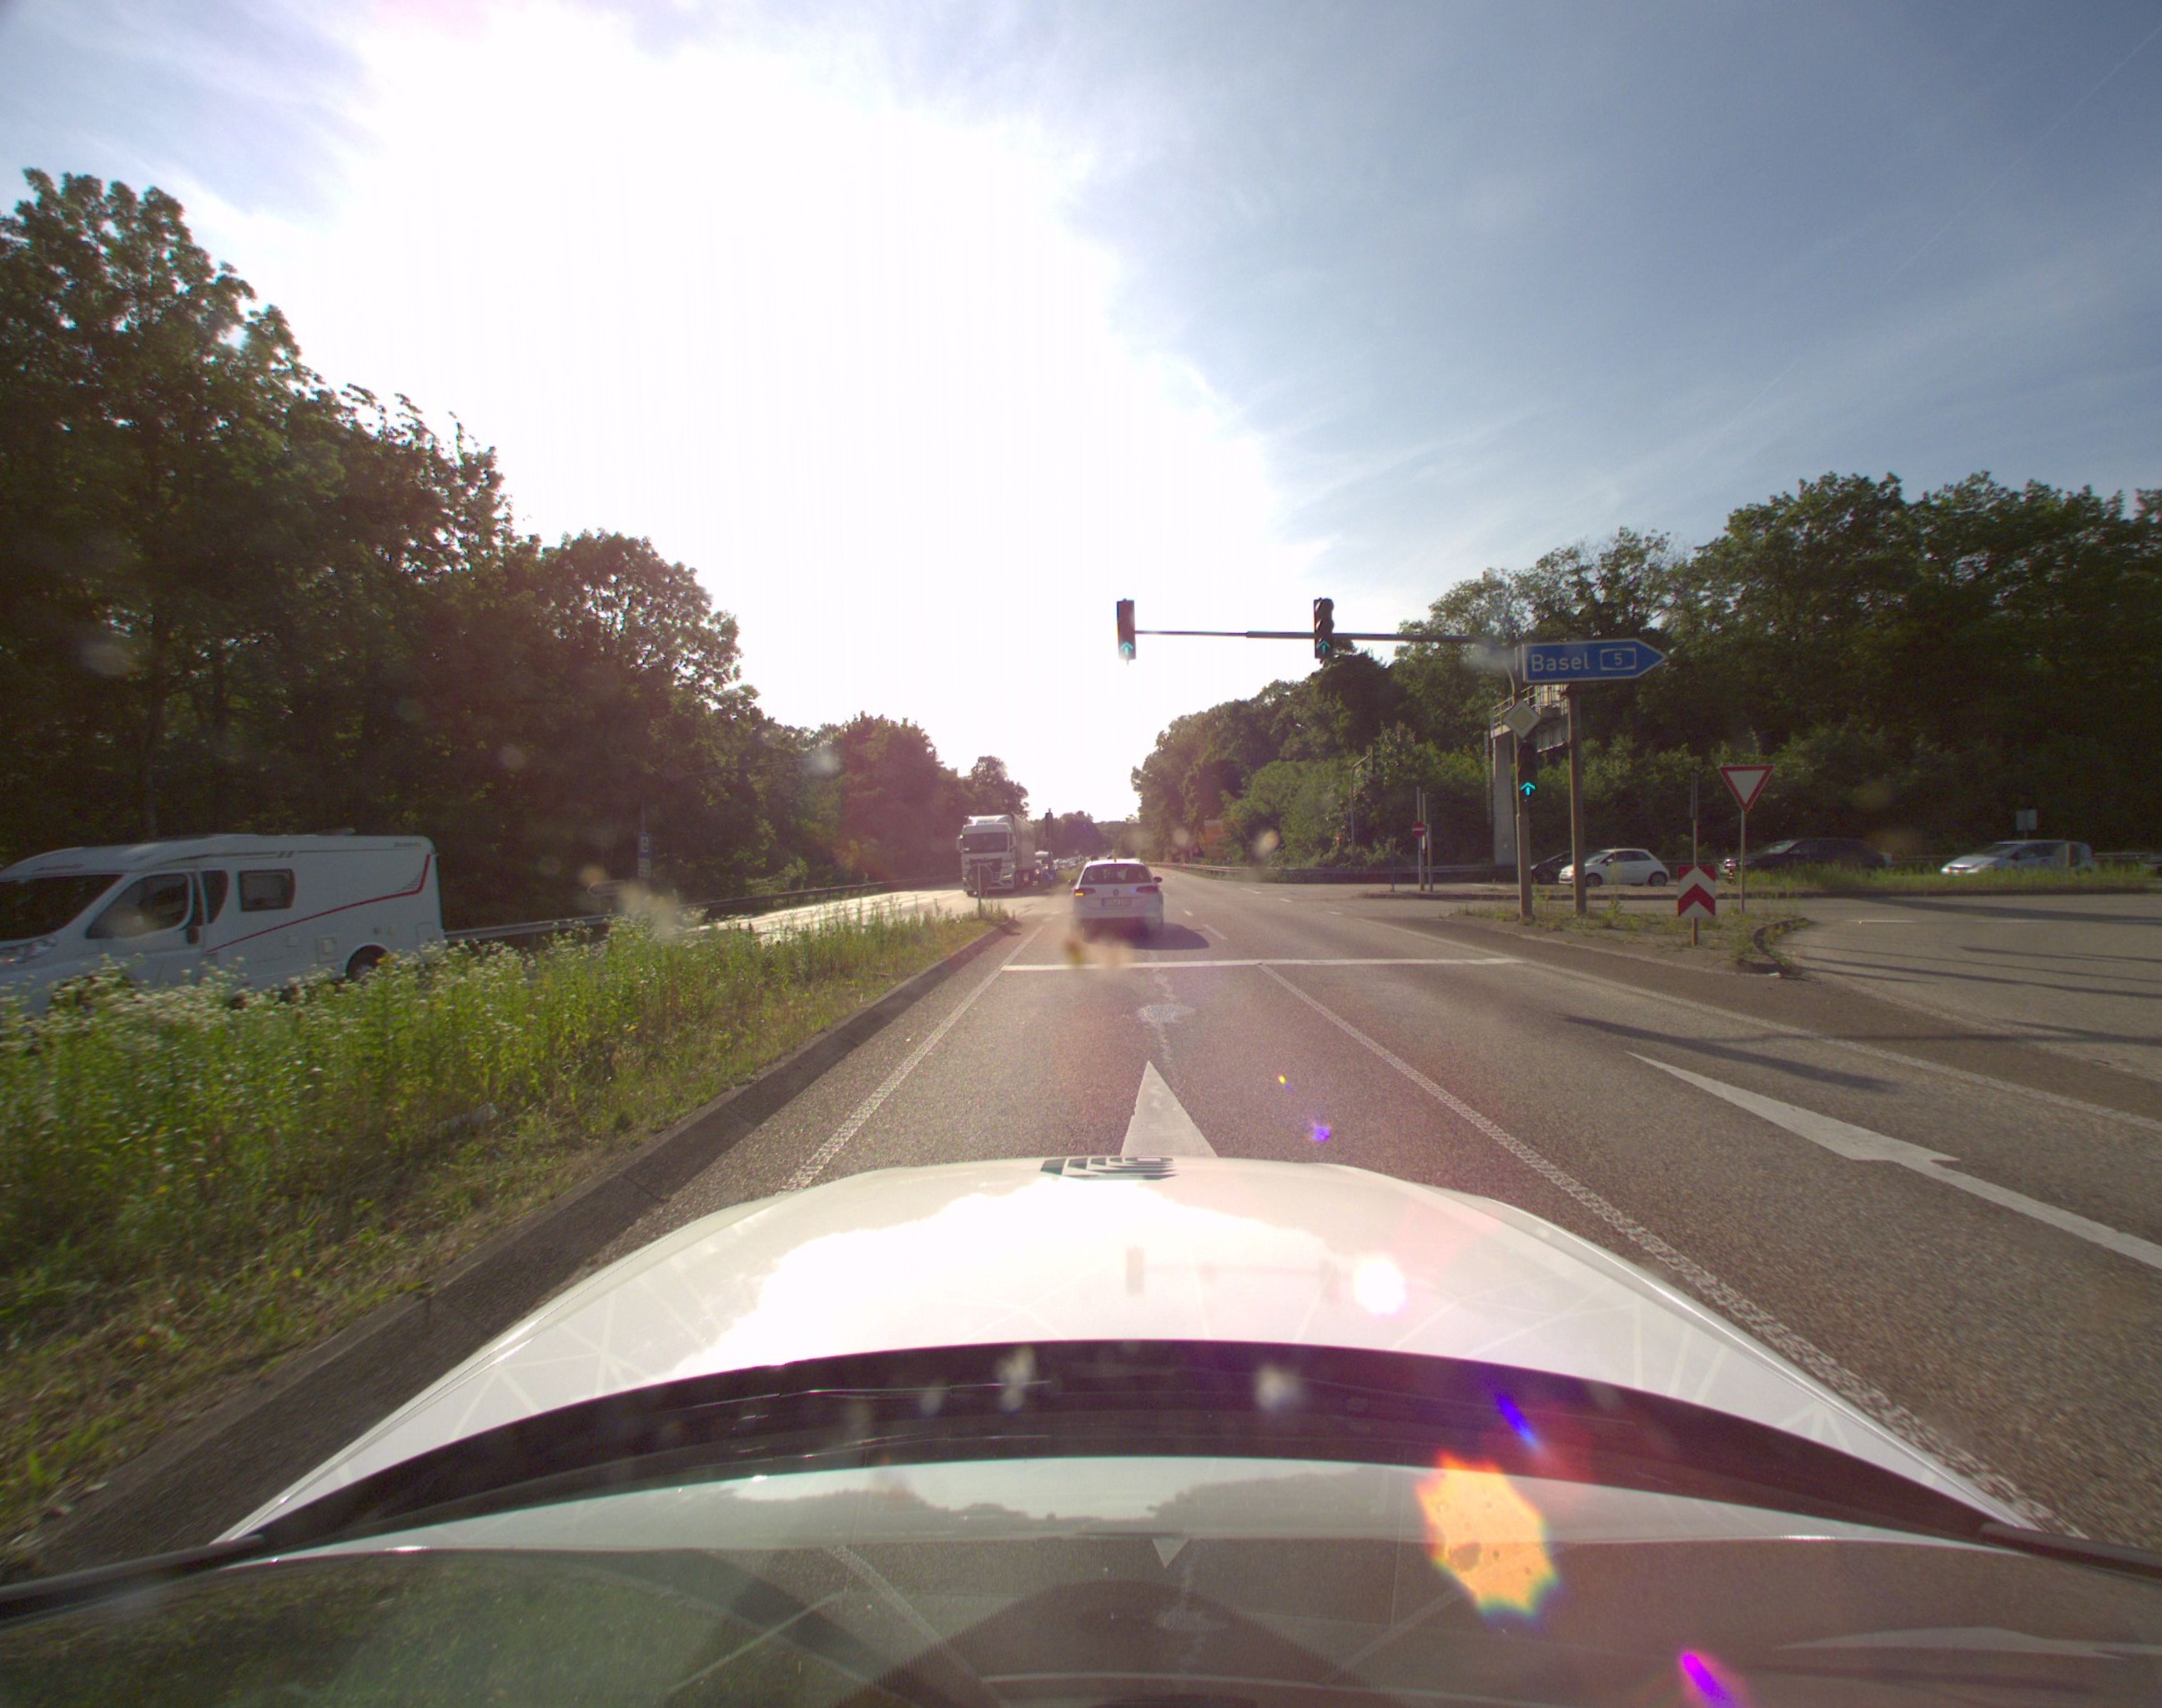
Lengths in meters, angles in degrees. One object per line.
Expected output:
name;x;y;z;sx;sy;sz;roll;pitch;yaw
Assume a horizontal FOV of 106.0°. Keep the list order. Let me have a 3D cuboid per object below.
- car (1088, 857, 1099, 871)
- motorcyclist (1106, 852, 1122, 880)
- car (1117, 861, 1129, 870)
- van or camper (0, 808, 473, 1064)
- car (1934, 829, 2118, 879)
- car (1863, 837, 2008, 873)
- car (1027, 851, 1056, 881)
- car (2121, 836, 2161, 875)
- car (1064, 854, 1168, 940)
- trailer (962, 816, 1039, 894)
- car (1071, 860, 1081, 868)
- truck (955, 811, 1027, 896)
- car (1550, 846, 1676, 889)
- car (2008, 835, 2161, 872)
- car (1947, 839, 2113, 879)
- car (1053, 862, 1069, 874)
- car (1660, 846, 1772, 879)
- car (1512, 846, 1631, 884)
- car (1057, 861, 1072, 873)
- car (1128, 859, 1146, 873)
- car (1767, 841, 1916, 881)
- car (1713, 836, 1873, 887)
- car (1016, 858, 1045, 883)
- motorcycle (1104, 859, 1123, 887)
car;2.744;2.251;178.933;2.202;2.888;7.013;-3;0;2
motorcyclist;1.882;0.679;46.777;0.880;1.616;1.291;-1;0;4
car;7.705;2.153;149.128;1.740;1.537;3.922;-1;0;-2
van or camper;-12.571;0.972;11.771;2.404;2.710;6.439;-5;0;2
car;33.311;0.011;28.814;4.089;1.632;1.873;-1;0;6
car;36.776;0.052;35.158;4.089;1.441;1.873;-1;0;6
car;-3.573;1.040;75.264;2.067;2.533;6.166;-3;0;2
car;42.906;0.014;30.929;4.089;1.441;1.873;-1;0;6
car;0.697;0.782;17.126;1.863;1.521;4.835;-1;0;1
trailer;-4.500;0.077;49.043;2.981;3.996;14.014;-1;0;1
car;-1.078;2.035;169.150;1.861;1.417;4.417;-3;0;2
truck;-4.543;-0.001;42.303;2.881;3.997;6.721;-1;0;0
car;20.131;0.512;30.943;3.579;1.503;1.811;-1;0;6
car;42.782;-0.017;34.730;4.089;1.441;1.873;-1;0;6
car;37.232;0.180;32.049;4.089;1.441;1.873;-1;0;6
car;-2.532;1.780;105.309;1.764;1.423;5.194;-3;0;2
car;27.657;0.356;35.534;3.608;1.313;1.494;-1;0;6
car;20.841;0.473;34.764;4.074;1.496;1.794;-1;0;21
car;-2.286;1.802;112.308;1.700;1.423;4.213;-3;0;2
car;5.677;1.206;83.210;1.754;1.380;3.974;-1;0;3
car;30.466;0.267;32.724;4.089;1.496;1.873;-1;0;6
car;26.046;0.264;29.904;4.089;1.708;1.873;-1;0;6
car;-3.656;1.188;59.384;1.694;1.631;4.370;-3;0;0
motorcycle;1.897;1.050;46.772;0.905;1.453;2.691;-5;0;4
